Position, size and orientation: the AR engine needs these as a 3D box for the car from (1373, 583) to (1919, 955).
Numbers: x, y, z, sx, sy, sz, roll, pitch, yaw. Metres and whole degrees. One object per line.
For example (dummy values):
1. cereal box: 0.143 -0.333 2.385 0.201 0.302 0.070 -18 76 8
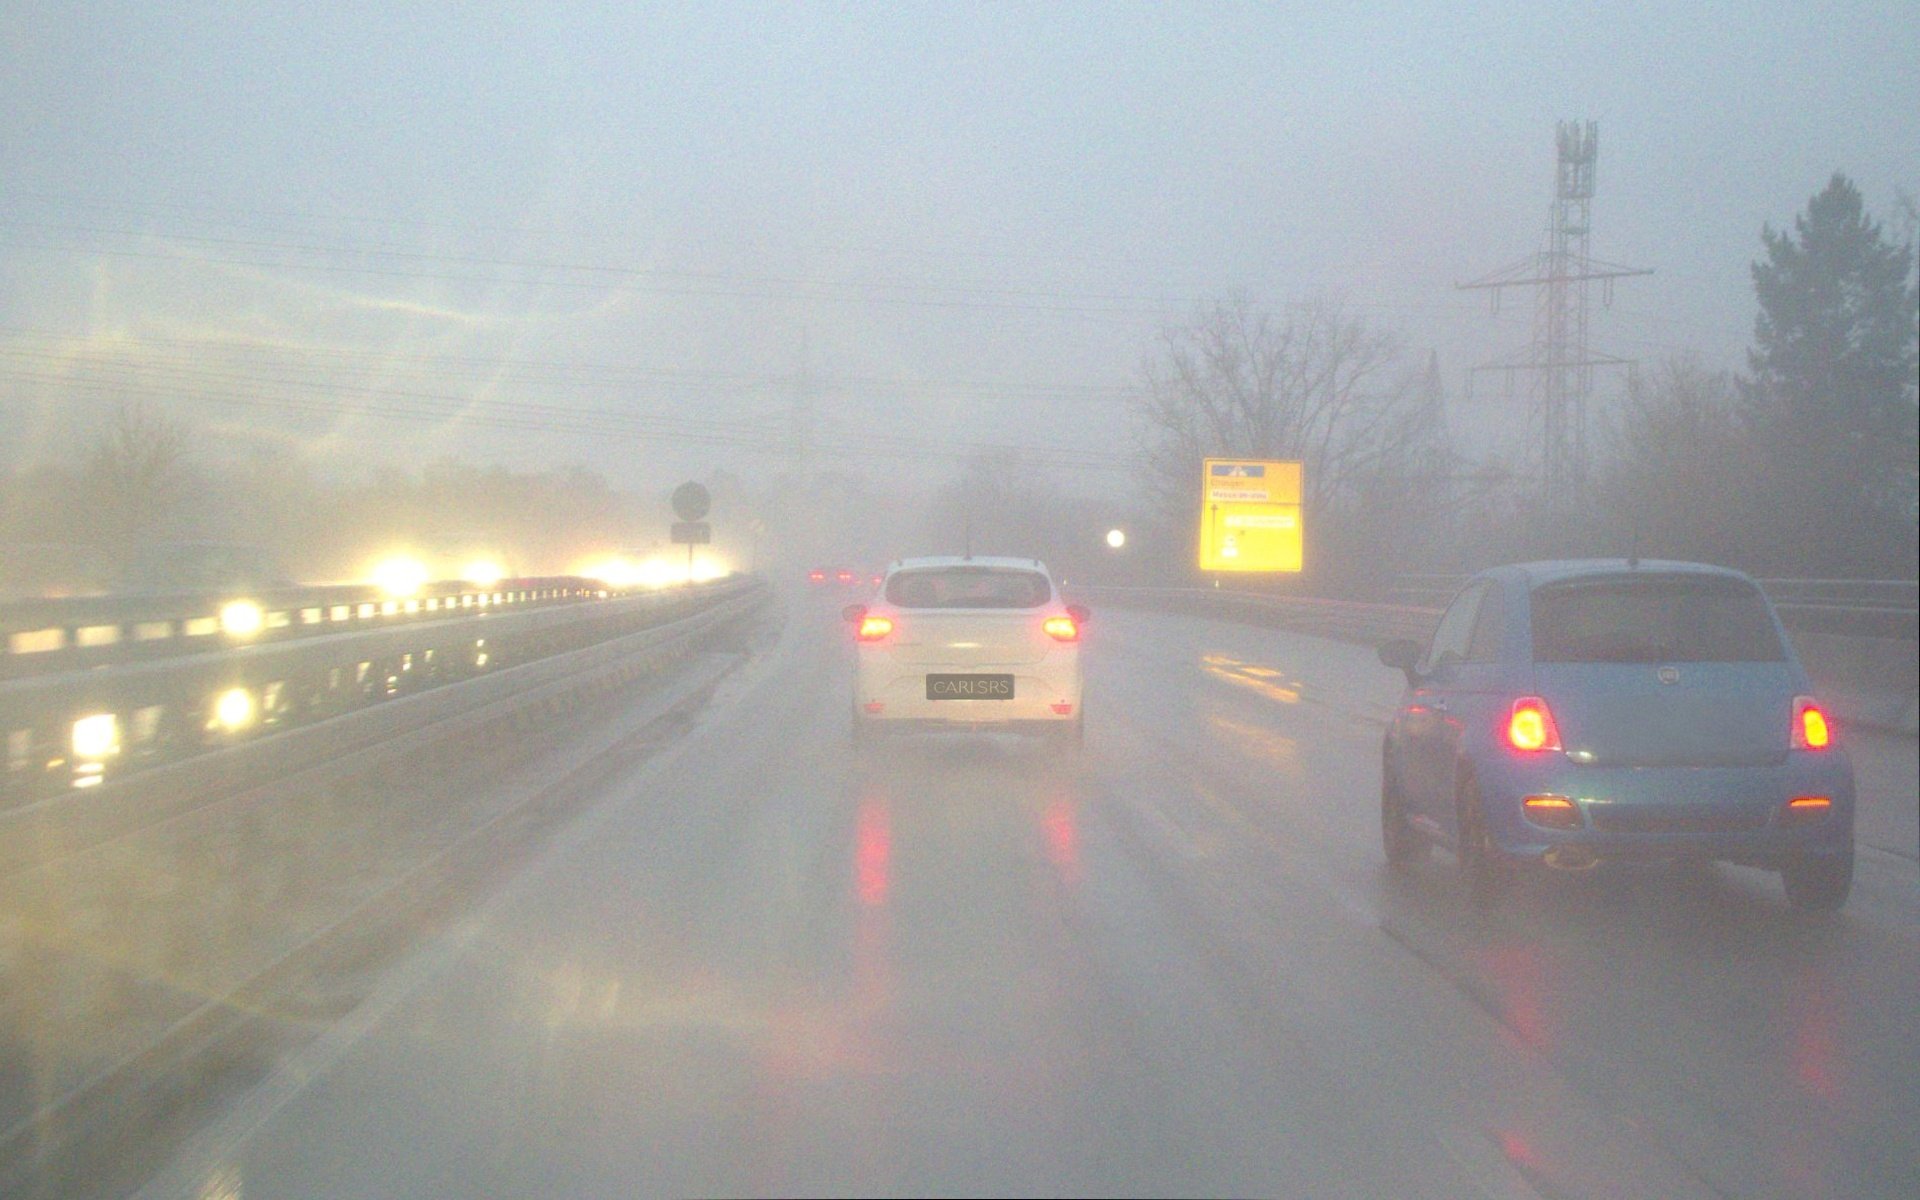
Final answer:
1. car: 3.141 0.699 16.499 1.845 1.448 4.149 0 2 1

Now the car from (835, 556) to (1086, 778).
1. car: -0.053 0.485 27.331 1.845 1.630 3.768 0 0 -2

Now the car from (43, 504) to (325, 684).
1. car: -7.938 -0.086 35.521 1.993 1.722 4.000 1 1 0

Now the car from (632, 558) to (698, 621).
1. car: -10.523 -0.402 122.800 1.993 2.128 5.200 0 2 -1

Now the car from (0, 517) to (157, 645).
1. car: -12.147 -0.284 45.502 1.993 1.591 4.657 1 1 -1
